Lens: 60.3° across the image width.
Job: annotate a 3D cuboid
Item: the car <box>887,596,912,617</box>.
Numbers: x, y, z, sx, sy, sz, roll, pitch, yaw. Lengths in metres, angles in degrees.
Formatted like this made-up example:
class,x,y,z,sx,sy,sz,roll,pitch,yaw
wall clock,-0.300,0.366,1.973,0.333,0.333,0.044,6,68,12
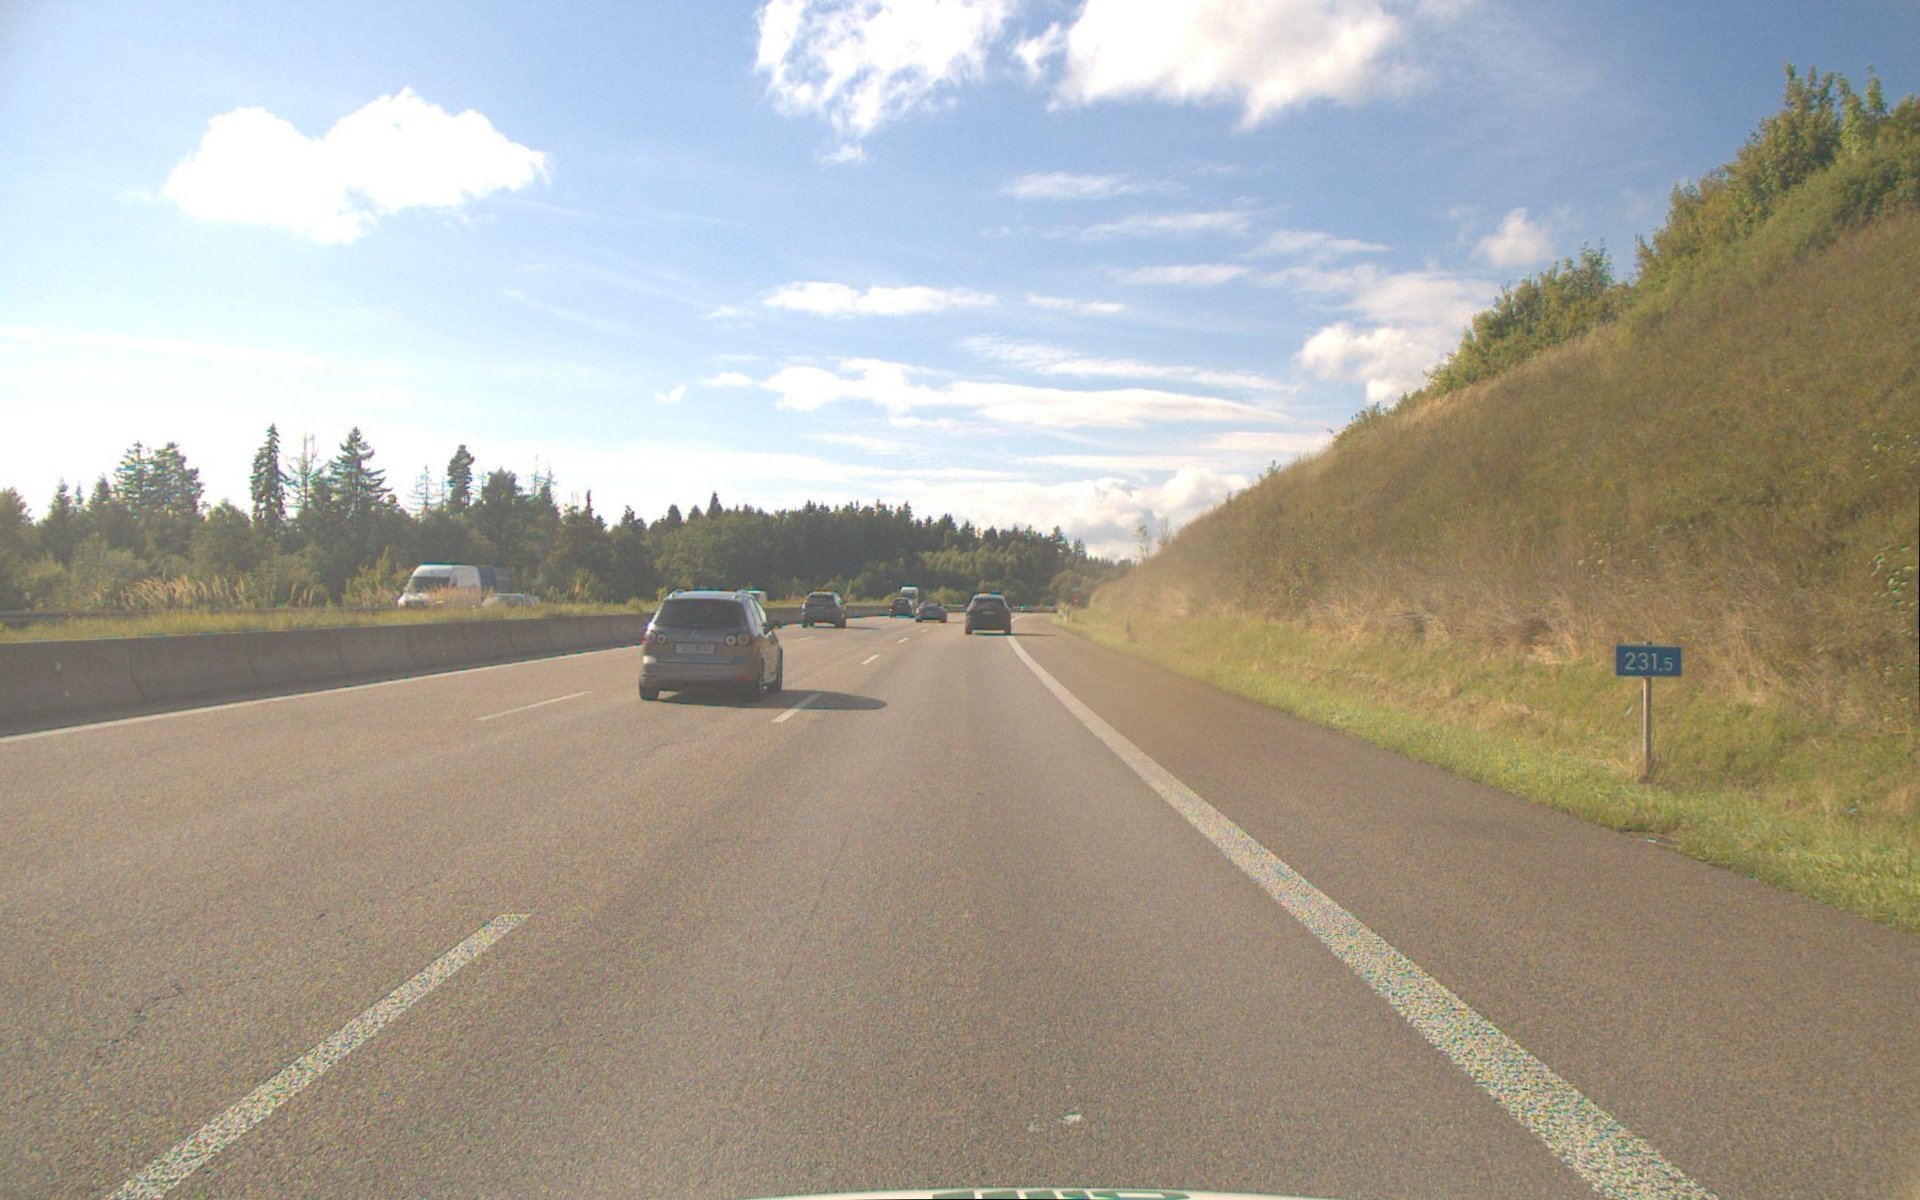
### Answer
class,x,y,z,sx,sy,sz,roll,pitch,yaw
car,-4.687,0.500,128.565,1.835,1.523,3.879,1,0,-1

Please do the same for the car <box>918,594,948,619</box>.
class,x,y,z,sx,sy,sz,roll,pitch,yaw
car,-1.697,0.387,103.609,1.835,1.523,3.879,1,0,0

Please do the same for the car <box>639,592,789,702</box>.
class,x,y,z,sx,sy,sz,roll,pitch,yaw
car,-3.634,0.658,25.032,1.836,1.523,3.878,1,0,-3

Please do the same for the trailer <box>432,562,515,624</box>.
class,x,y,z,sx,sy,sz,roll,pitch,yaw
trailer,-22.282,-0.301,76.022,2.223,2.730,5.561,1,0,-1

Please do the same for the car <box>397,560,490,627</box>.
class,x,y,z,sx,sy,sz,roll,pitch,yaw
car,-22.208,-0.285,71.344,2.223,2.730,5.887,1,0,-1

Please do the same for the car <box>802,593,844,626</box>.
class,x,y,z,sx,sy,sz,roll,pitch,yaw
car,-6.531,0.453,79.066,1.836,1.523,3.878,1,0,-3

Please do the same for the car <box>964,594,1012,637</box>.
class,x,y,z,sx,sy,sz,roll,pitch,yaw
car,1.144,0.630,69.246,1.836,1.704,3.888,1,0,-2
